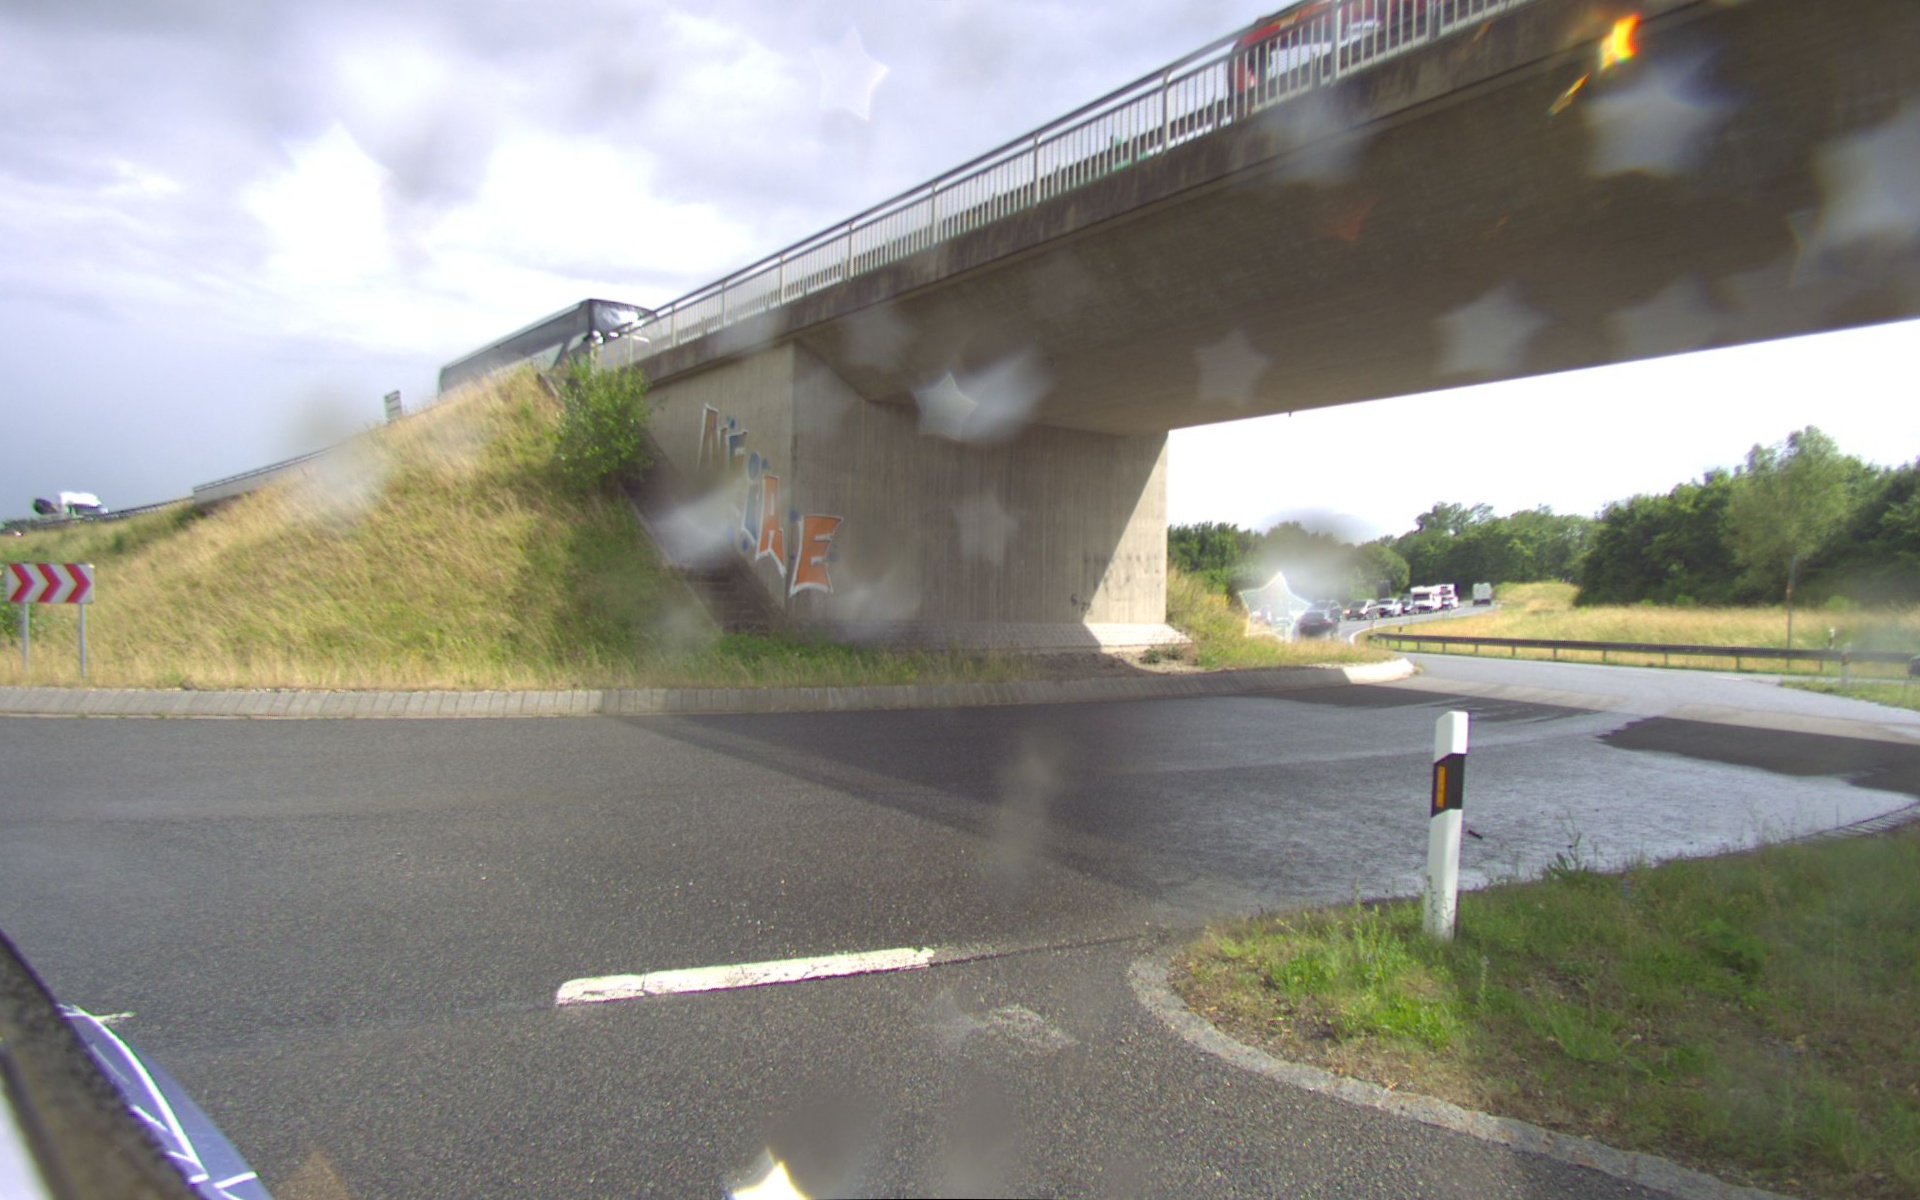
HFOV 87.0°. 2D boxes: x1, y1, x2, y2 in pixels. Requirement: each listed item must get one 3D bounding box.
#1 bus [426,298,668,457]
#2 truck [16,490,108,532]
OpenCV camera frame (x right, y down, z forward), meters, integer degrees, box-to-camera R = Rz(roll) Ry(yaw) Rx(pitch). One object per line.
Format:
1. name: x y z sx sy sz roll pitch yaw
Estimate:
1. bus: -14.928 -7.302 35.369 2.574 3.102 14.475 -1 1 -44
2. truck: -81.062 -7.955 91.304 9.234 3.218 3.132 1 1 27
